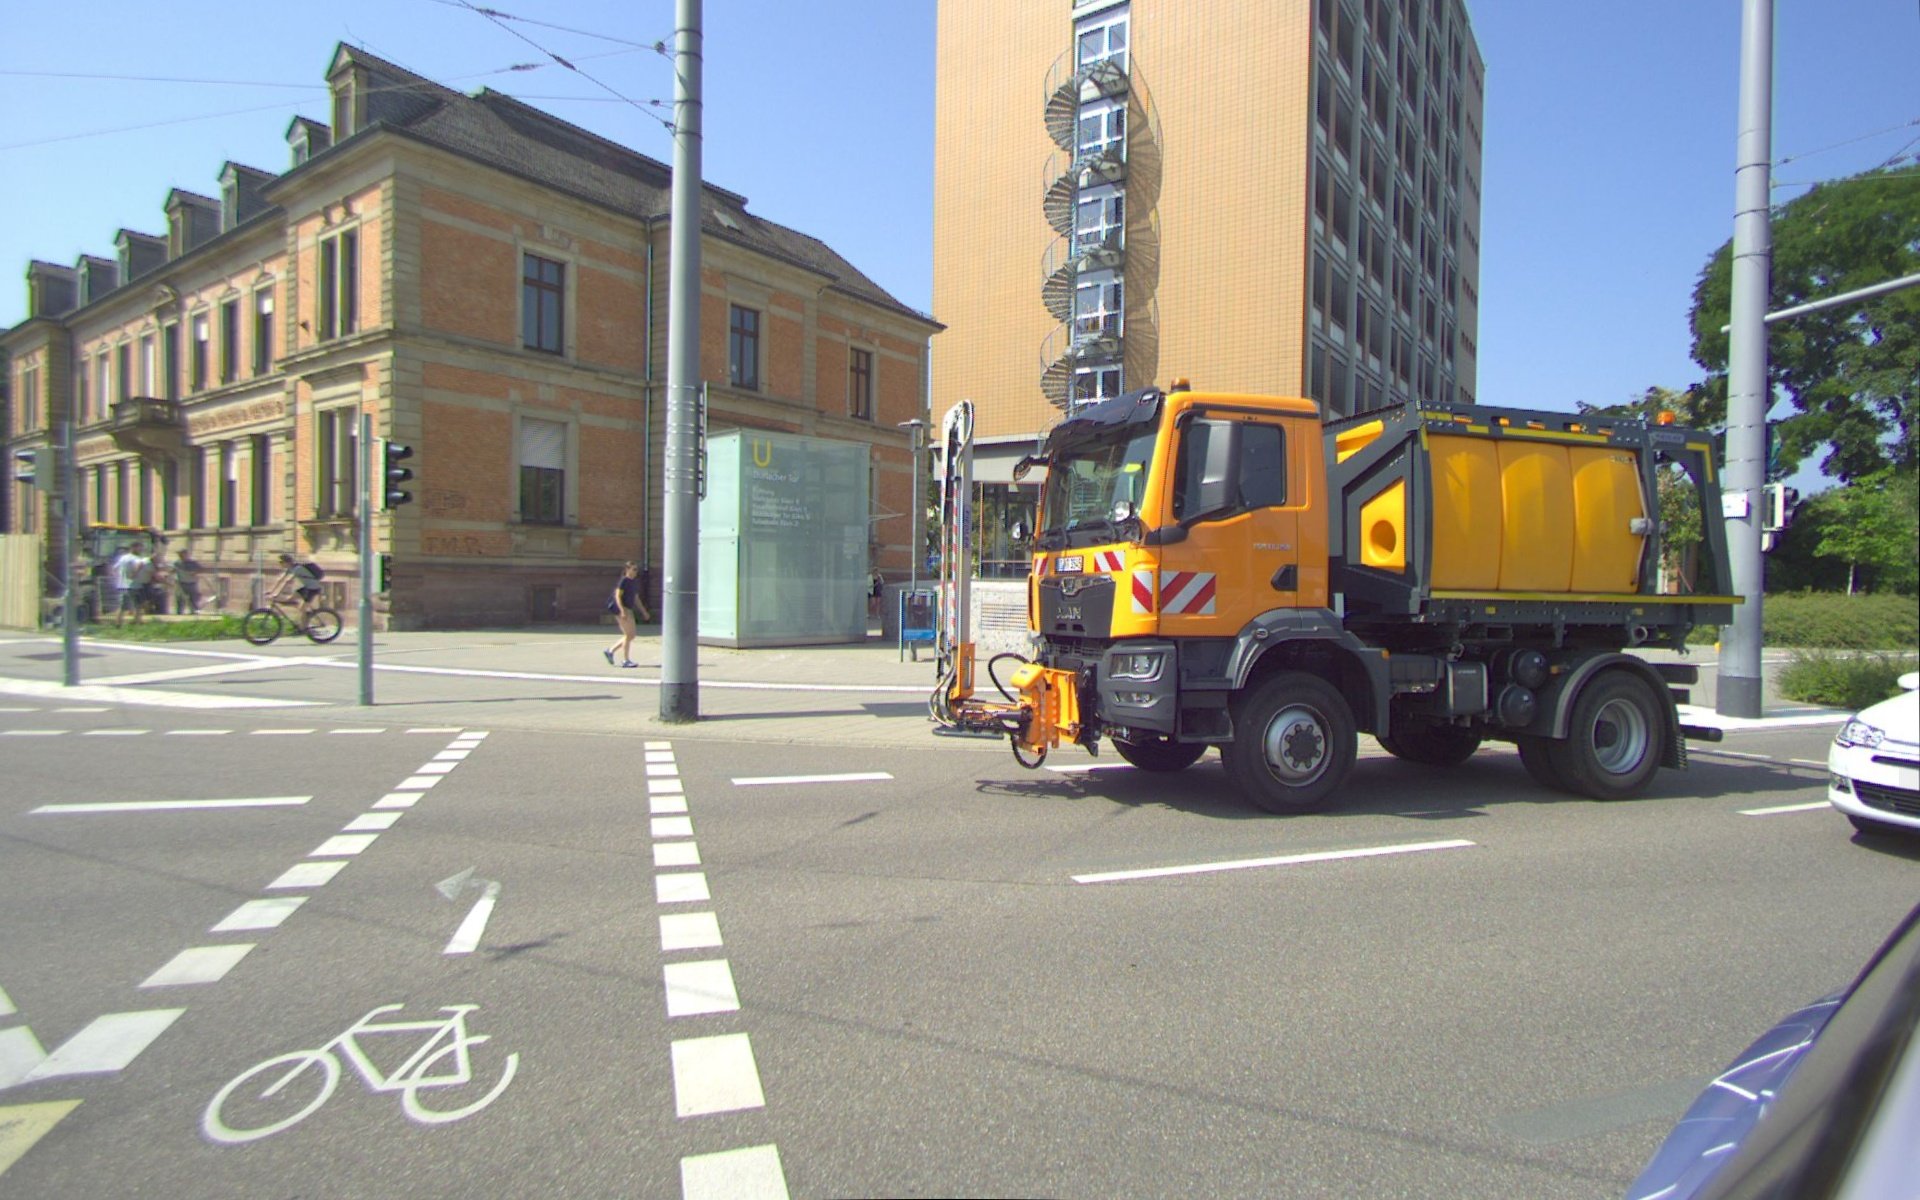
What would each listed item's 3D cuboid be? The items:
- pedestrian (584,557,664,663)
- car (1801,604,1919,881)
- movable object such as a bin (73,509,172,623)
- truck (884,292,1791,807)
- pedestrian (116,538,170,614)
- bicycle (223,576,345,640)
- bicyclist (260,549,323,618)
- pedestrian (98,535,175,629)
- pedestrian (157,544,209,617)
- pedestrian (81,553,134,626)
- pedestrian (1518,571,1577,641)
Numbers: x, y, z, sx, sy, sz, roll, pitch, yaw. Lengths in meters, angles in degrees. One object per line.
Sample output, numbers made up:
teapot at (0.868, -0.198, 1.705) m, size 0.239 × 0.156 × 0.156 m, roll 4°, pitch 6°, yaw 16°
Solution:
pedestrian at (-5.305, 0.136, 16.024) m, size 0.935 × 1.628 × 0.791 m, roll 1°, pitch 2°, yaw 11°
car at (7.896, 0.848, 6.688) m, size 4.507 × 1.639 × 1.775 m, roll 0°, pitch 0°, yaw -24°
movable object such as a bin at (-21.681, -0.872, 26.134) m, size 1.787 × 2.705 × 4.448 m, roll 0°, pitch 2°, yaw -42°
truck at (3.123, -0.289, 8.896) m, size 7.039 × 3.270 × 3.048 m, roll 1°, pitch 0°, yaw -17°
pedestrian at (-18.645, -0.545, 23.101) m, size 0.674 × 1.693 × 0.684 m, roll 1°, pitch 1°, yaw 5°
bicycle at (-12.620, 0.132, 18.928) m, size 1.824 × 1.125 × 0.712 m, roll 0°, pitch 1°, yaw -42°
bicyclist at (-12.555, -0.319, 18.992) m, size 0.849 × 1.249 × 1.100 m, roll 0°, pitch 1°, yaw -41°
pedestrian at (-16.563, -0.371, 20.375) m, size 1.021 × 1.836 × 0.684 m, roll 1°, pitch 1°, yaw 5°
pedestrian at (-18.284, -0.460, 23.828) m, size 0.674 × 1.693 × 0.684 m, roll 1°, pitch 1°, yaw 5°
pedestrian at (-20.017, -0.250, 23.772) m, size 0.674 × 1.693 × 0.684 m, roll 1°, pitch 1°, yaw 5°
pedestrian at (12.198, 0.116, 21.016) m, size 0.833 × 1.412 × 0.786 m, roll 0°, pitch 1°, yaw -39°
